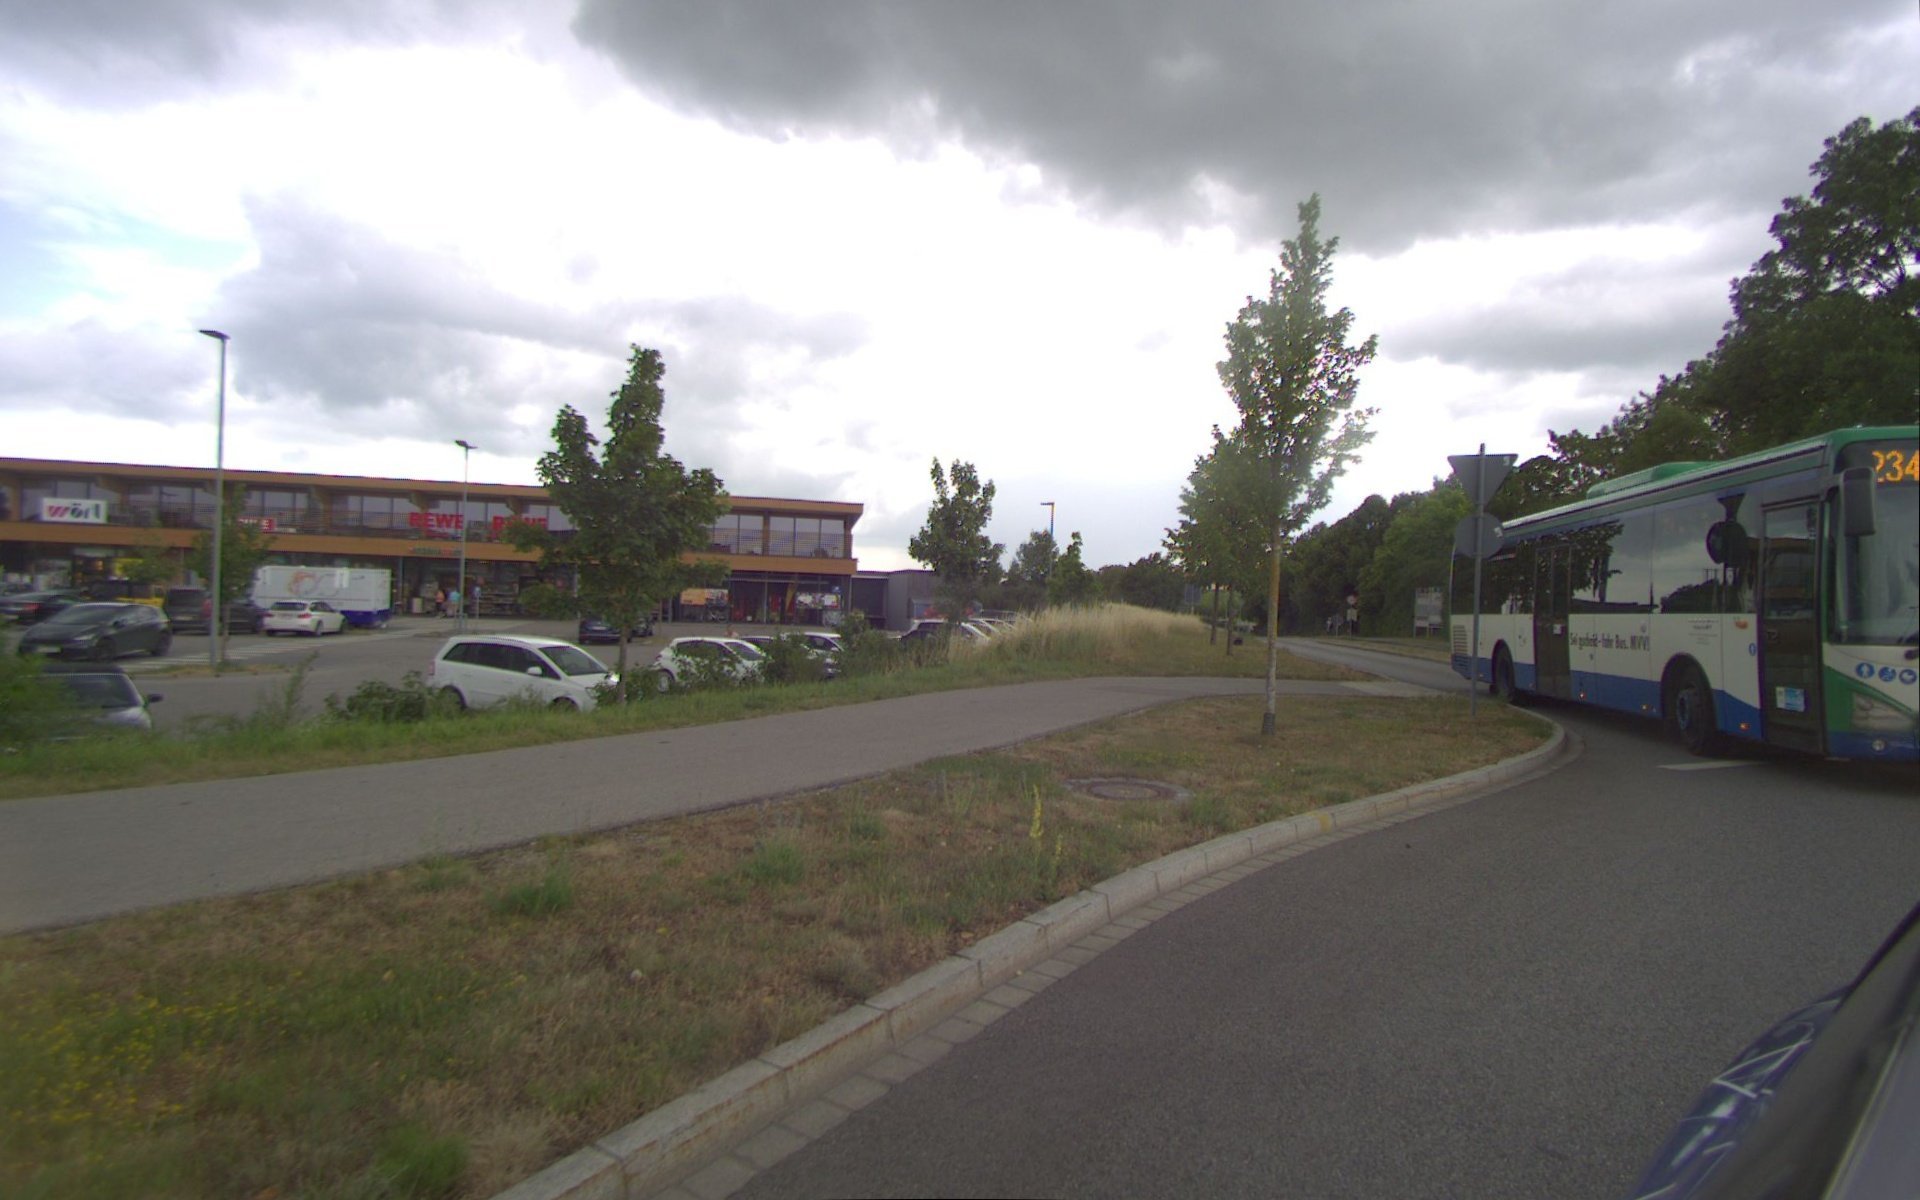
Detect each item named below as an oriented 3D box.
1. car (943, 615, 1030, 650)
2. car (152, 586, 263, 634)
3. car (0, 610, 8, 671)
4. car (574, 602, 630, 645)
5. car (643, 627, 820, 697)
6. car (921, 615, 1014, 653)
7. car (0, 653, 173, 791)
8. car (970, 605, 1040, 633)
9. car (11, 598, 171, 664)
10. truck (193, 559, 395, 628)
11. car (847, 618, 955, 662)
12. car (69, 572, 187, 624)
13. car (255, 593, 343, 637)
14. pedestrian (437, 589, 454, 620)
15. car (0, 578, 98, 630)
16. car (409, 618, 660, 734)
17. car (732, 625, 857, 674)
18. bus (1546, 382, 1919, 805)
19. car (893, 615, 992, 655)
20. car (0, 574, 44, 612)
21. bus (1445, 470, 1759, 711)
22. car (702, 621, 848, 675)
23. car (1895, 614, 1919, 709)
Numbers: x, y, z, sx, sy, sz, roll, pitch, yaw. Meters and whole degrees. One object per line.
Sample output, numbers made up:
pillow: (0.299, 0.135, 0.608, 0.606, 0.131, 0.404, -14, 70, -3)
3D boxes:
car: (1.270, 1.536, 49.020, 3.844, 1.482, 1.685, 2, 0, 22)
car: (-29.008, 0.360, 39.195, 1.813, 1.746, 4.128, 0, 0, -10)
car: (-22.749, 0.971, 21.576, 1.798, 1.415, 4.009, 2, 1, -14)
car: (-14.827, 0.943, 42.078, 1.680, 1.588, 3.677, 2, 1, -12)
car: (-5.764, 1.535, 25.762, 3.938, 1.527, 1.993, 1, 0, 12)
car: (0.335, 1.537, 46.040, 3.844, 1.482, 1.685, 2, 0, 22)
car: (-12.003, 1.526, 13.725, 3.720, 1.390, 1.556, 1, 0, 44)
car: (2.673, 1.107, 59.576, 3.932, 1.462, 1.880, 2, 0, 7)
car: (-23.578, 0.782, 27.667, 1.695, 1.572, 4.009, 2, 0, -15)
truck: (-30.282, -0.297, 46.378, 7.105, 2.842, 2.983, 2, 0, -14)
car: (-2.309, 1.525, 39.458, 3.844, 1.482, 1.685, 2, 0, 22)
car: (-32.312, -0.085, 39.453, 1.736, 1.878, 4.007, 1, 0, -10)
car: (-26.163, 0.548, 40.190, 1.695, 1.549, 4.009, 2, 1, -15)
pedestrian: (-28.704, 0.233, 56.499, 0.735, 1.678, 0.806, 2, 0, -33)
car: (-35.298, 0.120, 38.824, 1.735, 1.878, 4.008, 1, 0, -14)
car: (-8.315, 1.402, 19.845, 4.386, 1.693, 1.791, 4, 2, 17)
car: (-5.153, 1.514, 31.493, 3.629, 1.310, 1.407, 1, 0, 20)
bus: (8.958, -0.097, 10.918, 2.485, 3.299, 6.527, -1, 0, 11)
car: (-0.744, 1.458, 43.111, 3.844, 1.482, 1.685, 2, 0, 22)
car: (-41.515, -0.316, 43.179, 1.730, 1.632, 4.234, 1, 0, -13)
bus: (10.176, -0.125, 16.763, 2.485, 3.299, 5.442, -1, 0, 11)
car: (-5.104, 1.295, 28.106, 3.616, 1.310, 1.712, 1, 0, 10)
car: (17.754, 1.078, 15.537, 1.958, 1.594, 4.596, 1, 0, -24)
